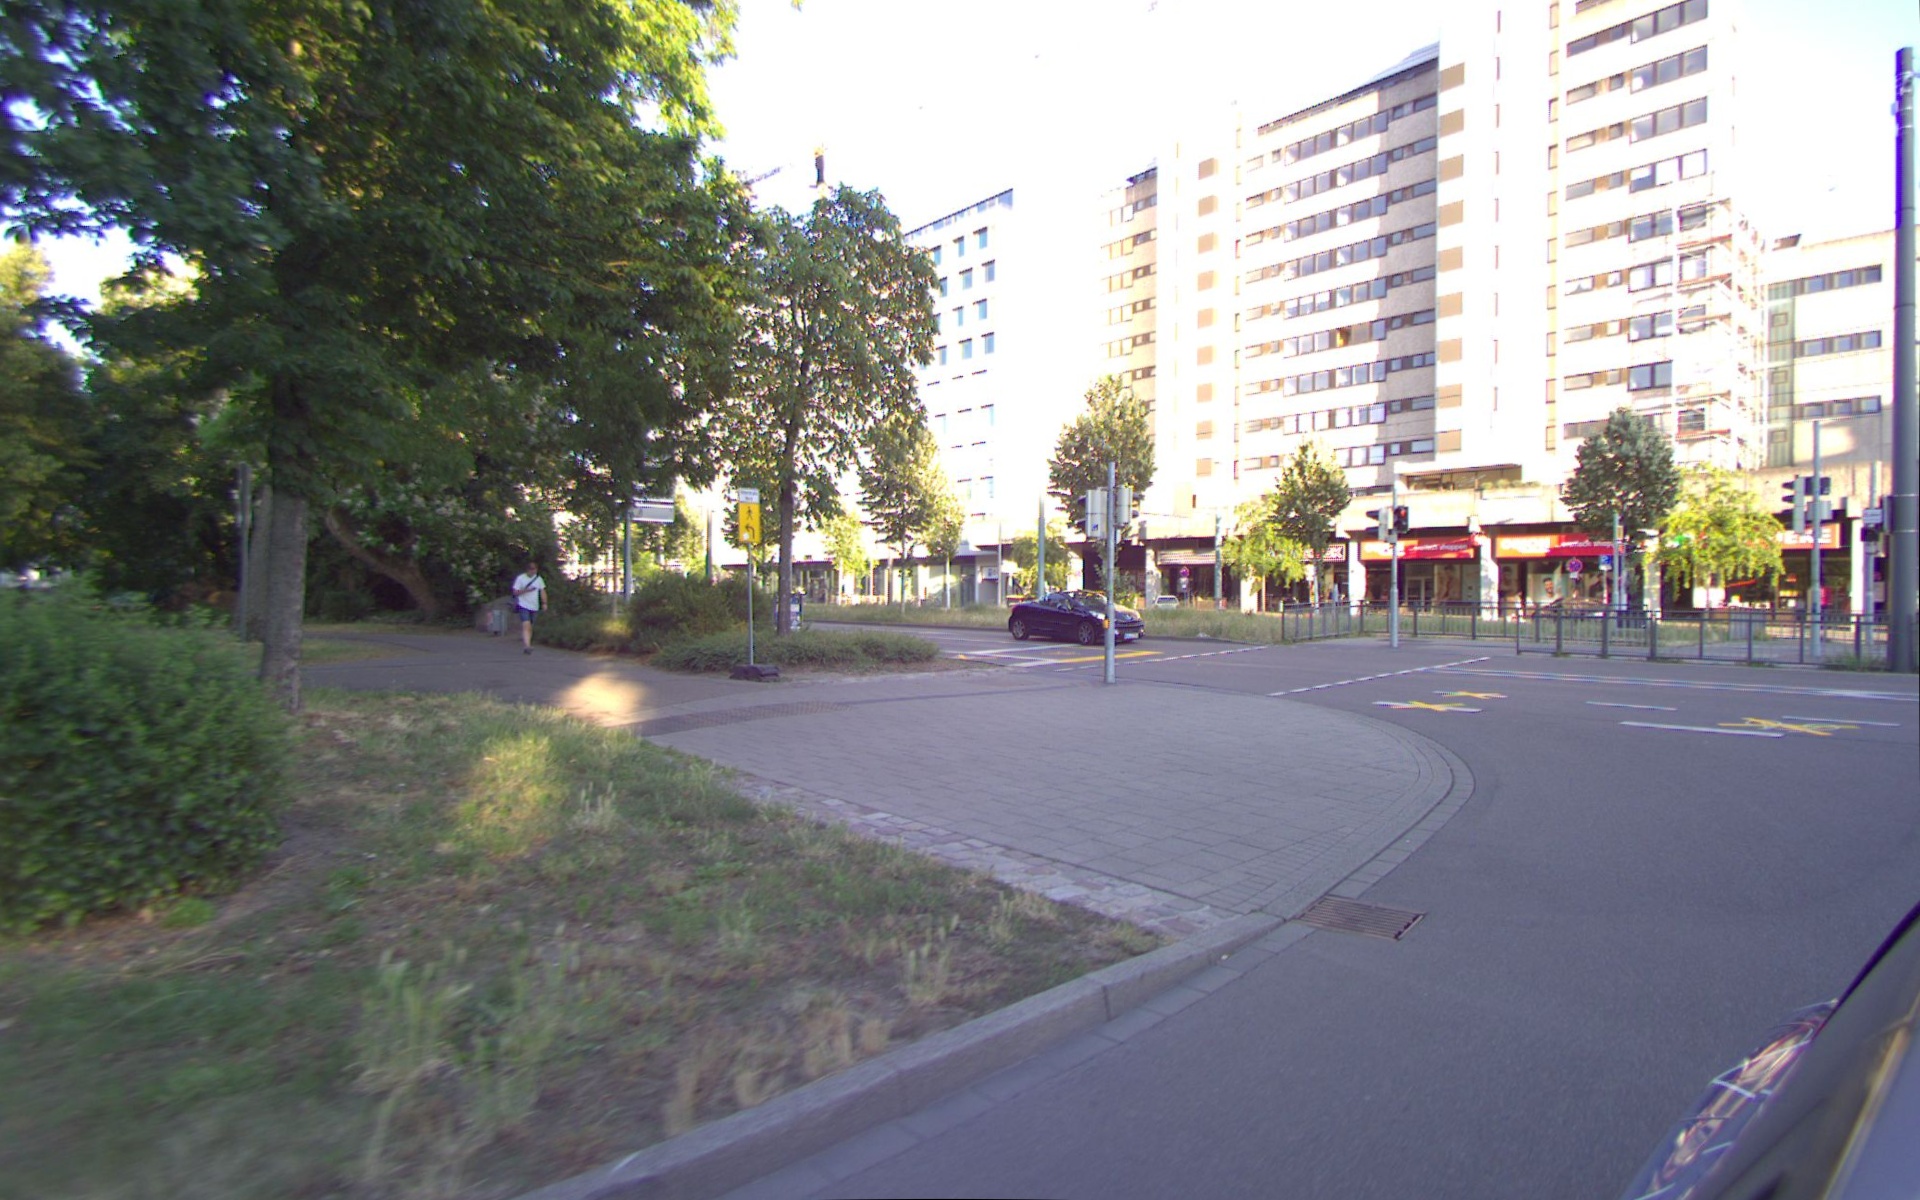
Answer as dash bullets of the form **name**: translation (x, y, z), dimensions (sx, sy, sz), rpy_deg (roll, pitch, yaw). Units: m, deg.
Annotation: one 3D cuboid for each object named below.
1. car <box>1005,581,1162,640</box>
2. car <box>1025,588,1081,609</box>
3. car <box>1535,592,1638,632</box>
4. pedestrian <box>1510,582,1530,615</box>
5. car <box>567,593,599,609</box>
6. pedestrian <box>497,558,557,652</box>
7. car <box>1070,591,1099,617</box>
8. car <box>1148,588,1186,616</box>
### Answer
- **car**: translation (3.155, 0.232, 26.370), dimensions (1.770, 1.405, 3.902), rpy_deg (0, 1, -41)
- **car**: translation (7.169, -0.127, 77.603), dimensions (4.251, 1.581, 1.722), rpy_deg (-1, 1, -38)
- **car**: translation (26.257, 0.454, 42.615), dimensions (1.927, 1.581, 4.339), rpy_deg (0, 1, 6)
- **pedestrian**: translation (27.711, -0.074, 50.059), dimensions (0.723, 1.634, 0.646), rpy_deg (0, 0, 43)
- **car**: translation (-38.459, 0.073, 103.265), dimensions (1.693, 1.581, 4.324), rpy_deg (0, 1, -40)
- **pedestrian**: translation (-8.493, 0.086, 19.848), dimensions (0.961, 1.777, 0.736), rpy_deg (0, 0, 41)
- **car**: translation (7.844, 0.198, 64.080), dimensions (1.693, 1.581, 4.325), rpy_deg (0, 1, 5)
- **car**: translation (12.112, 0.084, 59.447), dimensions (1.693, 1.581, 4.325), rpy_deg (0, 1, 5)
